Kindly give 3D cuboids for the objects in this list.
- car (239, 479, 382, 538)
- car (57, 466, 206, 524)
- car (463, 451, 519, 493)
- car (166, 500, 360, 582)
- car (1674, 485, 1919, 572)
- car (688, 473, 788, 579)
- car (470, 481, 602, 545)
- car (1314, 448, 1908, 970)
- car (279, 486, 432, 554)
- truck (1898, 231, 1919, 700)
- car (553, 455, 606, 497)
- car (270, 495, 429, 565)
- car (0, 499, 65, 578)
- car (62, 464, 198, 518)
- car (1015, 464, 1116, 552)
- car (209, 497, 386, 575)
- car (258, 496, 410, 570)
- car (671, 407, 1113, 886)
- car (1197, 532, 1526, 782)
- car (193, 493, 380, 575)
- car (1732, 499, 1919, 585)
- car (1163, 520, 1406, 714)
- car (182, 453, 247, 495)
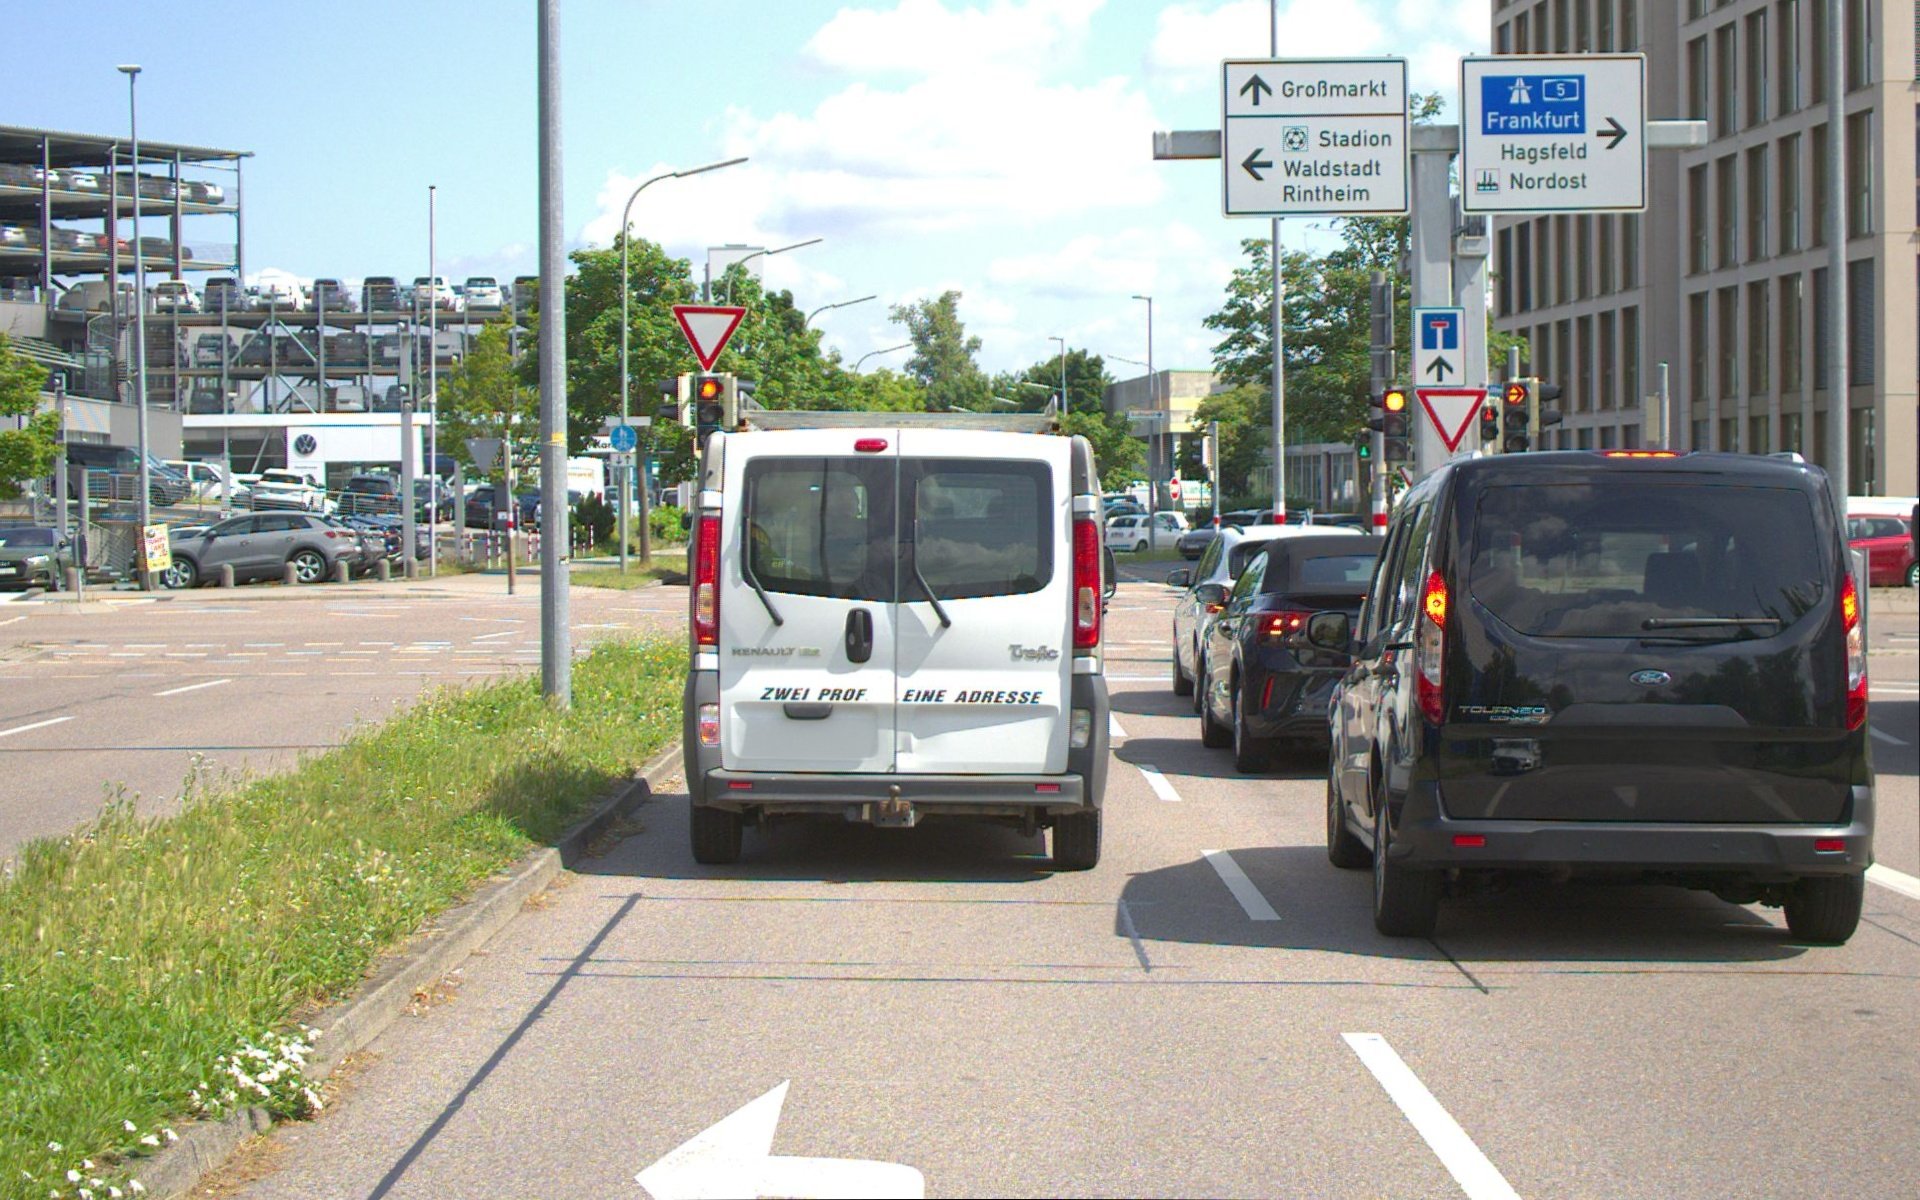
[{"bbox_3d":[-19.915,-2.819,105.556,4.164,1.707,1.689,1,2,-6],"label":"car"},{"bbox_3d":[-25.049,-3.180,104.039,4.164,1.707,1.689,0,1,-6],"label":"car"},{"bbox_3d":[-17.325,-4.724,127.100,1.846,1.524,4.001,0,2,-4],"label":"car"},{"bbox_3d":[-15.147,-1.295,74.854,3.861,1.634,1.858,-2,2,-3],"label":"car"},{"bbox_3d":[16.333,-1.372,65.505,4.982,1.602,2.000,0,2,-2],"label":"car"},{"bbox_3d":[-4.950,-1.705,77.065,1.971,2.248,4.981,-1,2,-1],"label":"car"},{"bbox_3d":[-13.088,-2.688,106.282,3.986,1.919,1.827,0,1,-6],"label":"car"},{"bbox_3d":[2.494,0.331,14.108,1.820,1.802,4.000,1,1,3],"label":"car"},{"bbox_3d":[-16.448,-2.190,93.654,3.912,1.707,1.689,-2,2,-3],"label":"car"},{"bbox_3d":[9.120,-1.043,26.126,3.131,3.927,8.855,1,2,11],"label":"truck"},{"bbox_3d":[-14.083,-4.599,127.371,1.846,1.524,4.001,0,2,-4],"label":"car"},{"bbox_3d":[-16.057,-1.857,90.502,3.912,1.707,1.689,-2,2,-3],"label":"car"},{"bbox_3d":[-19.221,-1.264,69.884,1.816,1.546,4.001,0,1,-17],"label":"car"},{"bbox_3d":[-27.487,-3.600,113.900,4.164,1.707,1.689,0,1,-6],"label":"car"},{"bbox_3d":[2.774,-2.477,91.410,1.993,2.247,5.516,0,2,-5],"label":"car"},{"bbox_3d":[-15.773,-1.537,81.930,3.912,1.707,1.689,-2,2,-3],"label":"car"},{"bbox_3d":[-15.542,-1.681,85.520,3.507,1.707,1.604,-2,2,-3],"label":"car"},{"bbox_3d":[-0.226,0.157,16.592,1.856,2.011,4.000,1,1,2],"label":"car"},{"bbox_3d":[2.573,0.309,22.884,1.740,1.490,4.000,1,1,1],"label":"car"},{"bbox_3d":[-15.156,-1.501,77.481,3.912,1.707,1.689,-2,2,-3],"label":"car"},{"bbox_3d":[15.951,-1.044,61.419,3.893,1.485,1.795,0,2,-1],"label":"car"},{"bbox_3d":[2.727,0.101,29.684,1.740,1.538,4.000,1,1,1],"label":"car"},{"bbox_3d":[-27.814,-4.693,128.401,1.846,1.524,4.001,0,2,-4],"label":"car"}]
